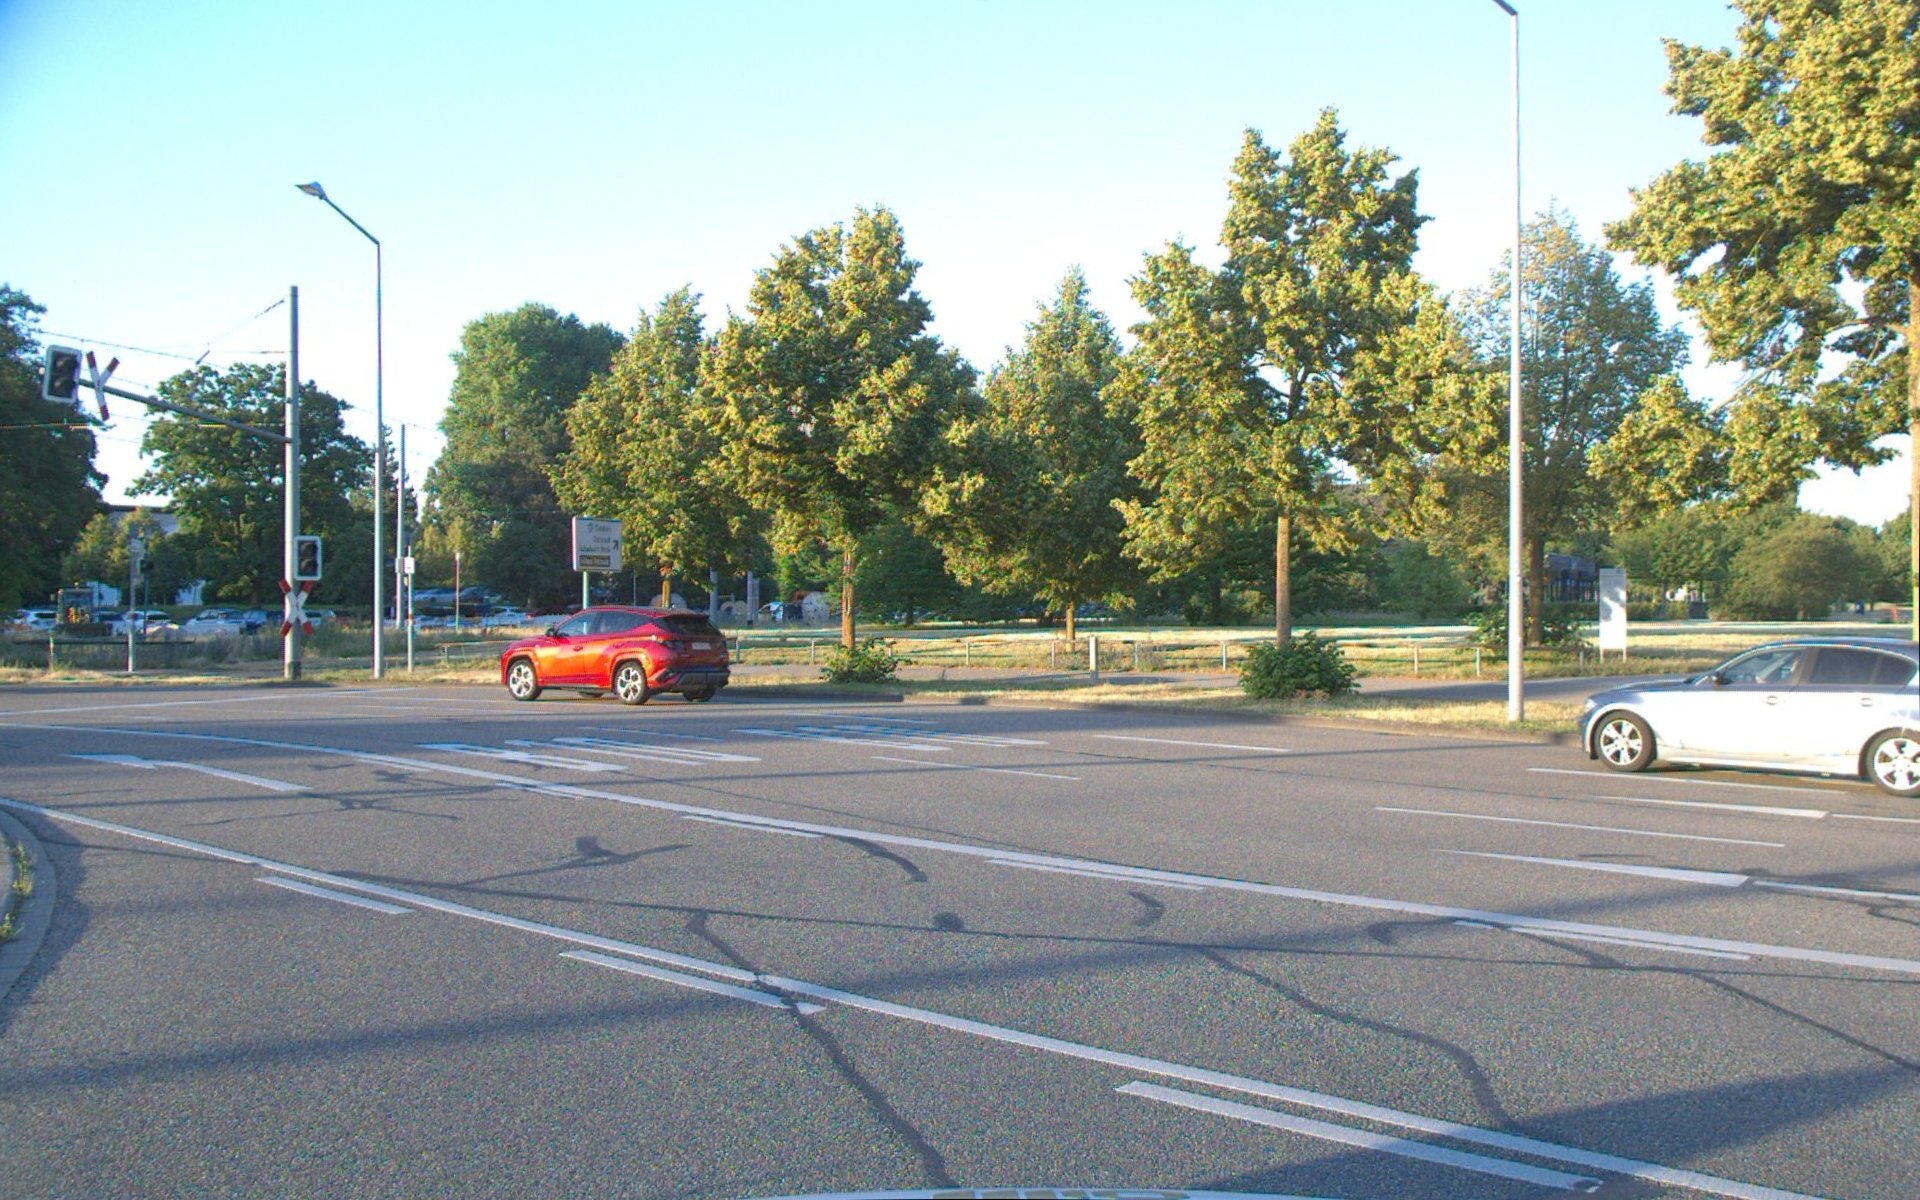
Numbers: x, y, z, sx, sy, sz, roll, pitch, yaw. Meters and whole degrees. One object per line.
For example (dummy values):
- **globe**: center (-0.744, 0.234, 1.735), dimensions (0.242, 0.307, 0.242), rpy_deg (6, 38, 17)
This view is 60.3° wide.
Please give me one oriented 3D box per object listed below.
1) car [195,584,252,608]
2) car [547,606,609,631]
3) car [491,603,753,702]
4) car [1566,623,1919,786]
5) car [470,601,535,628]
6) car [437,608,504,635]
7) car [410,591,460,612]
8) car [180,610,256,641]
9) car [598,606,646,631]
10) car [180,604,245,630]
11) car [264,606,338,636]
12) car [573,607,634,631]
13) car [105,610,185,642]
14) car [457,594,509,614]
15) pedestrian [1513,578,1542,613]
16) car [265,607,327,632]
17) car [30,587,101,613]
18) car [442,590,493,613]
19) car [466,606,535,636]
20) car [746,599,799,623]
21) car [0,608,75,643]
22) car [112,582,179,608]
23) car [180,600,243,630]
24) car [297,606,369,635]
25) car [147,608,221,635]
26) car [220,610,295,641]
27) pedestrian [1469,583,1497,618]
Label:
- **car**: center (-63.380, -0.314, 142.349), dimensions (1.958, 2.049, 4.105), rpy_deg (0, 0, 33)
- **car**: center (-26.273, 1.245, 113.666), dimensions (3.915, 1.632, 1.995), rpy_deg (0, 0, 32)
- **car**: center (-5.934, 0.854, 28.896), dimensions (4.321, 1.601, 1.995), rpy_deg (0, 0, 32)
- **car**: center (8.336, 0.955, 16.283), dimensions (1.854, 1.414, 4.094), rpy_deg (0, 0, -45)
- **car**: center (-34.597, 1.094, 125.253), dimensions (4.499, 2.049, 1.996), rpy_deg (0, 0, -9)
- **car**: center (-30.978, 1.331, 104.676), dimensions (3.915, 1.632, 1.995), rpy_deg (0, 0, 32)
- **car**: center (-47.957, 0.126, 151.053), dimensions (1.959, 1.847, 3.987), rpy_deg (0, 0, 34)
- **car**: center (-40.532, 1.371, 90.367), dimensions (3.915, 1.632, 1.995), rpy_deg (0, 0, 32)
- **car**: center (-26.368, 1.402, 128.871), dimensions (1.979, 1.782, 4.538), rpy_deg (0, 1, -37)
- **car**: center (-50.563, 1.118, 111.860), dimensions (3.939, 1.691, 1.983), rpy_deg (0, 0, -27)
- **car**: center (-37.390, 1.174, 93.860), dimensions (3.915, 1.632, 1.995), rpy_deg (0, 0, 32)
- **car**: center (-24.904, 1.330, 115.415), dimensions (3.915, 1.632, 1.995), rpy_deg (0, 0, 32)
- **car**: center (-42.256, 1.322, 85.777), dimensions (3.915, 1.632, 1.995), rpy_deg (0, 0, 32)
- **car**: center (-41.694, 0.307, 144.714), dimensions (3.902, 1.736, 2.001), rpy_deg (0, 0, 6)
- **pedestrian**: center (26.583, -0.219, 77.487), dimensions (1.047, 1.646, 0.911), rpy_deg (0, 0, 2)
- **car**: center (-45.819, 1.329, 114.101), dimensions (3.933, 1.691, 1.889), rpy_deg (0, 0, -23)
- **car**: center (-70.538, -0.013, 130.452), dimensions (1.956, 2.049, 4.590), rpy_deg (0, 0, 29)
- **car**: center (-44.095, 0.122, 148.226), dimensions (1.963, 2.049, 3.979), rpy_deg (0, 0, 40)
- **car**: center (-32.528, 1.449, 117.146), dimensions (4.499, 2.049, 1.996), rpy_deg (0, 0, -9)
- **car**: center (-13.005, 0.768, 114.665), dimensions (1.724, 1.646, 3.940), rpy_deg (0, 0, -41)
- **car**: center (-45.626, 1.245, 81.424), dimensions (3.915, 1.632, 1.995), rpy_deg (0, 0, 32)
- **car**: center (-67.122, -0.402, 136.327), dimensions (1.958, 2.049, 4.585), rpy_deg (0, 0, 33)
- **car**: center (-52.530, 1.046, 116.087), dimensions (3.939, 2.049, 1.983), rpy_deg (0, 0, -27)
- **car**: center (-36.446, 1.200, 96.079), dimensions (3.915, 1.632, 1.995), rpy_deg (0, 0, 32)
- **car**: center (-50.233, 1.379, 107.073), dimensions (1.863, 1.691, 3.987), rpy_deg (0, 0, 34)
- **car**: center (-39.090, 1.403, 92.034), dimensions (3.915, 1.632, 1.995), rpy_deg (0, 0, 32)
- **pedestrian**: center (24.768, 0.026, 78.305), dimensions (1.047, 1.646, 0.911), rpy_deg (0, 0, 2)
